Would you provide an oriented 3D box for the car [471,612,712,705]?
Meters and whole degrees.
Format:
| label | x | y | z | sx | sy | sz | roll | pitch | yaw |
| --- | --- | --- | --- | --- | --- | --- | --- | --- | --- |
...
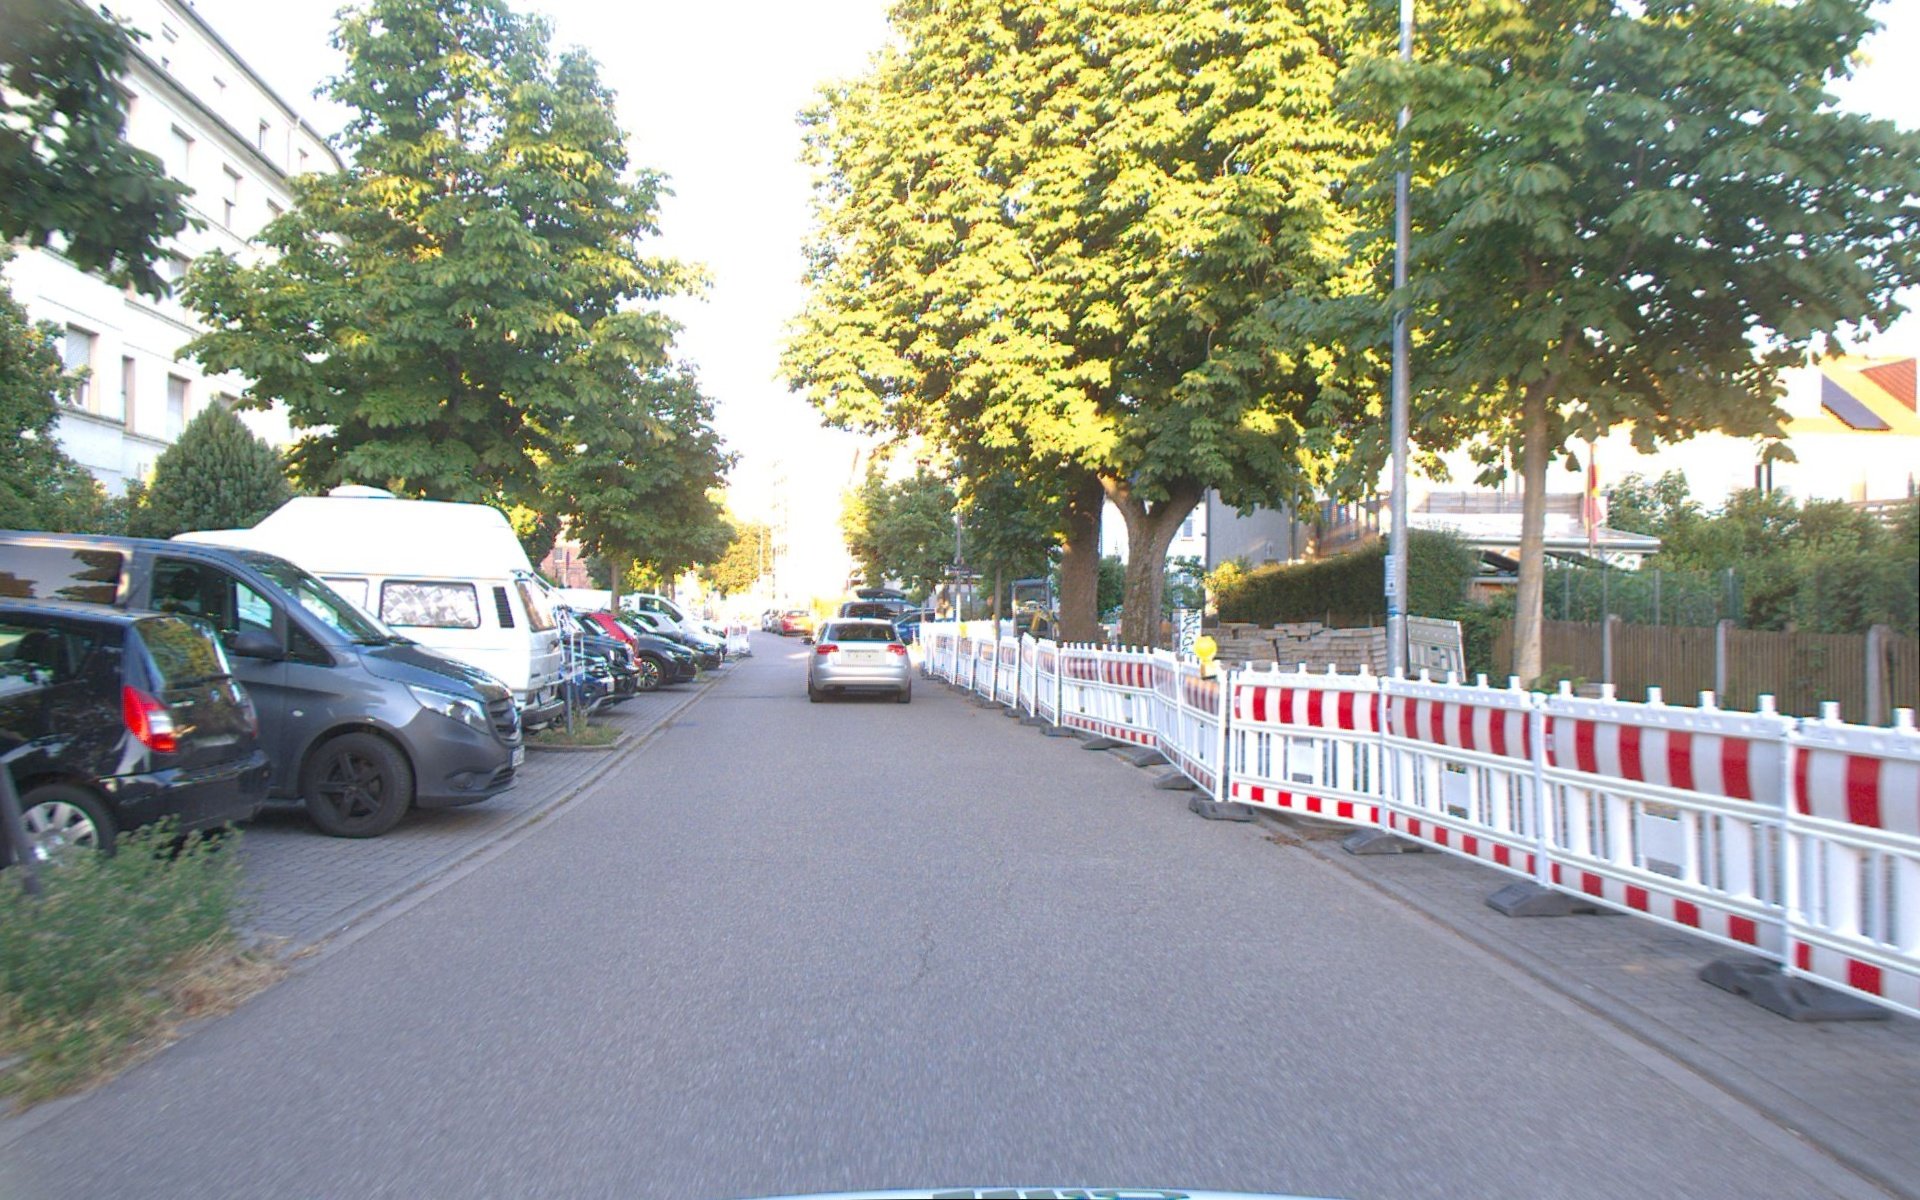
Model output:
| label | x | y | z | sx | sy | sz | roll | pitch | yaw |
| --- | --- | --- | --- | --- | --- | --- | --- | --- | --- |
| car | -6.940 | 1.104 | 31.527 | 4.326 | 1.643 | 1.895 | 1 | 0 | -11 |

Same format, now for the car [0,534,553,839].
| label | x | y | z | sx | sy | sz | roll | pitch | yaw |
| --- | --- | --- | --- | --- | --- | --- | --- | --- | --- |
| car | -5.362 | 0.556 | 11.526 | 4.582 | 1.906 | 1.998 | 1 | 0 | -5 |

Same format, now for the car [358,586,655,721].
| label | x | y | z | sx | sy | sz | roll | pitch | yaw |
| --- | --- | --- | --- | --- | --- | --- | --- | --- | --- |
| car | -6.445 | 0.754 | 23.844 | 3.783 | 1.808 | 1.842 | 1 | 0 | -3 |

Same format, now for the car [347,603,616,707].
| label | x | y | z | sx | sy | sz | roll | pitch | yaw |
| --- | --- | --- | --- | --- | --- | --- | --- | --- | --- |
| car | -7.578 | 0.863 | 26.544 | 3.913 | 1.551 | 1.786 | 1 | 0 | -9 |

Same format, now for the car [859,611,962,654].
| label | x | y | z | sx | sy | sz | roll | pitch | yaw |
| --- | --- | --- | --- | --- | --- | --- | --- | --- | --- |
| car | -2.053 | 1.349 | 68.117 | 3.924 | 1.680 | 1.756 | 1 | 0 | -17 |

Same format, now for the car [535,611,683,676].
| label | x | y | z | sx | sy | sz | roll | pitch | yaw |
| --- | --- | --- | --- | --- | --- | --- | --- | --- | --- |
| car | -8.627 | 1.067 | 40.862 | 3.348 | 1.510 | 1.757 | 1 | 0 | -5 |

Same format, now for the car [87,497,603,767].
| label | x | y | z | sx | sy | sz | roll | pitch | yaw |
| --- | --- | --- | --- | --- | --- | --- | --- | --- | --- |
| car | -6.004 | 0.321 | 16.640 | 4.414 | 2.473 | 1.998 | 1 | -1 | -4 |

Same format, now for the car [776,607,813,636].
| label | x | y | z | sx | sy | sz | roll | pitch | yaw |
| --- | --- | --- | --- | --- | --- | --- | --- | --- | --- |
| car | -9.042 | 1.155 | 90.103 | 1.699 | 1.509 | 3.548 | 1 | 0 | -11 |

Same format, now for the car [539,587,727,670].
| label | x | y | z | sx | sy | sz | roll | pitch | yaw |
| --- | --- | --- | --- | --- | --- | --- | --- | --- | --- |
| car | -8.527 | 0.752 | 43.527 | 4.681 | 2.049 | 1.997 | 1 | 0 | -7 |

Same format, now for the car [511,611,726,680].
| label | x | y | z | sx | sy | sz | roll | pitch | yaw |
| --- | --- | --- | --- | --- | --- | --- | --- | --- | --- |
| car | -7.832 | 1.053 | 38.342 | 4.681 | 1.496 | 1.878 | 1 | -1 | -7 |

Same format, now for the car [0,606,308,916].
| label | x | y | z | sx | sy | sz | roll | pitch | yaw |
| --- | --- | --- | --- | --- | --- | --- | --- | --- | --- |
| car | -5.662 | 0.761 | 8.794 | 3.694 | 1.464 | 1.654 | 2 | -1 | -3 |

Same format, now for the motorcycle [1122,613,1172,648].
| label | x | y | z | sx | sy | sz | roll | pitch | yaw |
| --- | --- | --- | --- | --- | --- | --- | --- | --- | --- |
| motorcycle | 6.216 | 1.019 | 54.848 | 1.831 | 1.125 | 0.572 | 1 | -1 | -43 |

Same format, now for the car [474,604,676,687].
| label | x | y | z | sx | sy | sz | roll | pitch | yaw |
| --- | --- | --- | --- | --- | --- | --- | --- | --- | --- |
| car | -7.860 | 0.925 | 34.076 | 3.915 | 1.606 | 1.797 | 1 | 0 | -11 |

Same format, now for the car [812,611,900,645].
| label | x | y | z | sx | sy | sz | roll | pitch | yaw |
| --- | --- | --- | --- | --- | --- | --- | --- | --- | --- |
| car | -5.229 | 1.411 | 82.744 | 4.084 | 1.599 | 1.789 | 1 | 0 | -17 |

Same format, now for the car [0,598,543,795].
| label | x | y | z | sx | sy | sz | roll | pitch | yaw |
| --- | --- | --- | --- | --- | --- | --- | --- | --- | --- |
| car | -5.724 | 0.752 | 13.675 | 4.093 | 1.450 | 1.998 | 1 | 0 | -4 |

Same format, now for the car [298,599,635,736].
| label | x | y | z | sx | sy | sz | roll | pitch | yaw |
| --- | --- | --- | --- | --- | --- | --- | --- | --- | --- |
| car | -6.214 | 0.837 | 21.169 | 3.783 | 1.623 | 1.784 | 1 | 0 | -3 |

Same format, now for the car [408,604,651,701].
| label | x | y | z | sx | sy | sz | roll | pitch | yaw |
| --- | --- | --- | --- | --- | --- | --- | --- | --- | --- |
| car | -7.530 | 0.913 | 29.244 | 3.911 | 1.611 | 1.728 | 1 | 0 | -7 |

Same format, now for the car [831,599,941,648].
| label | x | y | z | sx | sy | sz | roll | pitch | yaw |
| --- | --- | --- | --- | --- | --- | --- | --- | --- | --- |
| car | -3.269 | 1.020 | 72.954 | 4.481 | 2.058 | 2.093 | 1 | 0 | -15 |

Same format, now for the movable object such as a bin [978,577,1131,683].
| label | x | y | z | sx | sy | sz | roll | pitch | yaw |
| --- | --- | --- | --- | --- | --- | --- | --- | --- | --- |
| movable object such as a bin | 2.269 | 0.719 | 41.540 | 2.581 | 2.445 | 5.182 | 1 | 0 | -11 |

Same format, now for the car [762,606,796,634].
| label | x | y | z | sx | sy | sz | roll | pitch | yaw |
| --- | --- | --- | --- | --- | --- | --- | --- | --- | --- |
| car | -11.004 | 1.191 | 100.317 | 1.776 | 1.641 | 3.571 | 1 | 0 | -11 |

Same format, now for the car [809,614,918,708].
| label | x | y | z | sx | sy | sz | roll | pitch | yaw |
| --- | --- | --- | --- | --- | --- | --- | --- | --- | --- |
| car | -1.758 | 1.020 | 29.120 | 1.772 | 1.514 | 3.995 | 0 | 0 | -6 |
